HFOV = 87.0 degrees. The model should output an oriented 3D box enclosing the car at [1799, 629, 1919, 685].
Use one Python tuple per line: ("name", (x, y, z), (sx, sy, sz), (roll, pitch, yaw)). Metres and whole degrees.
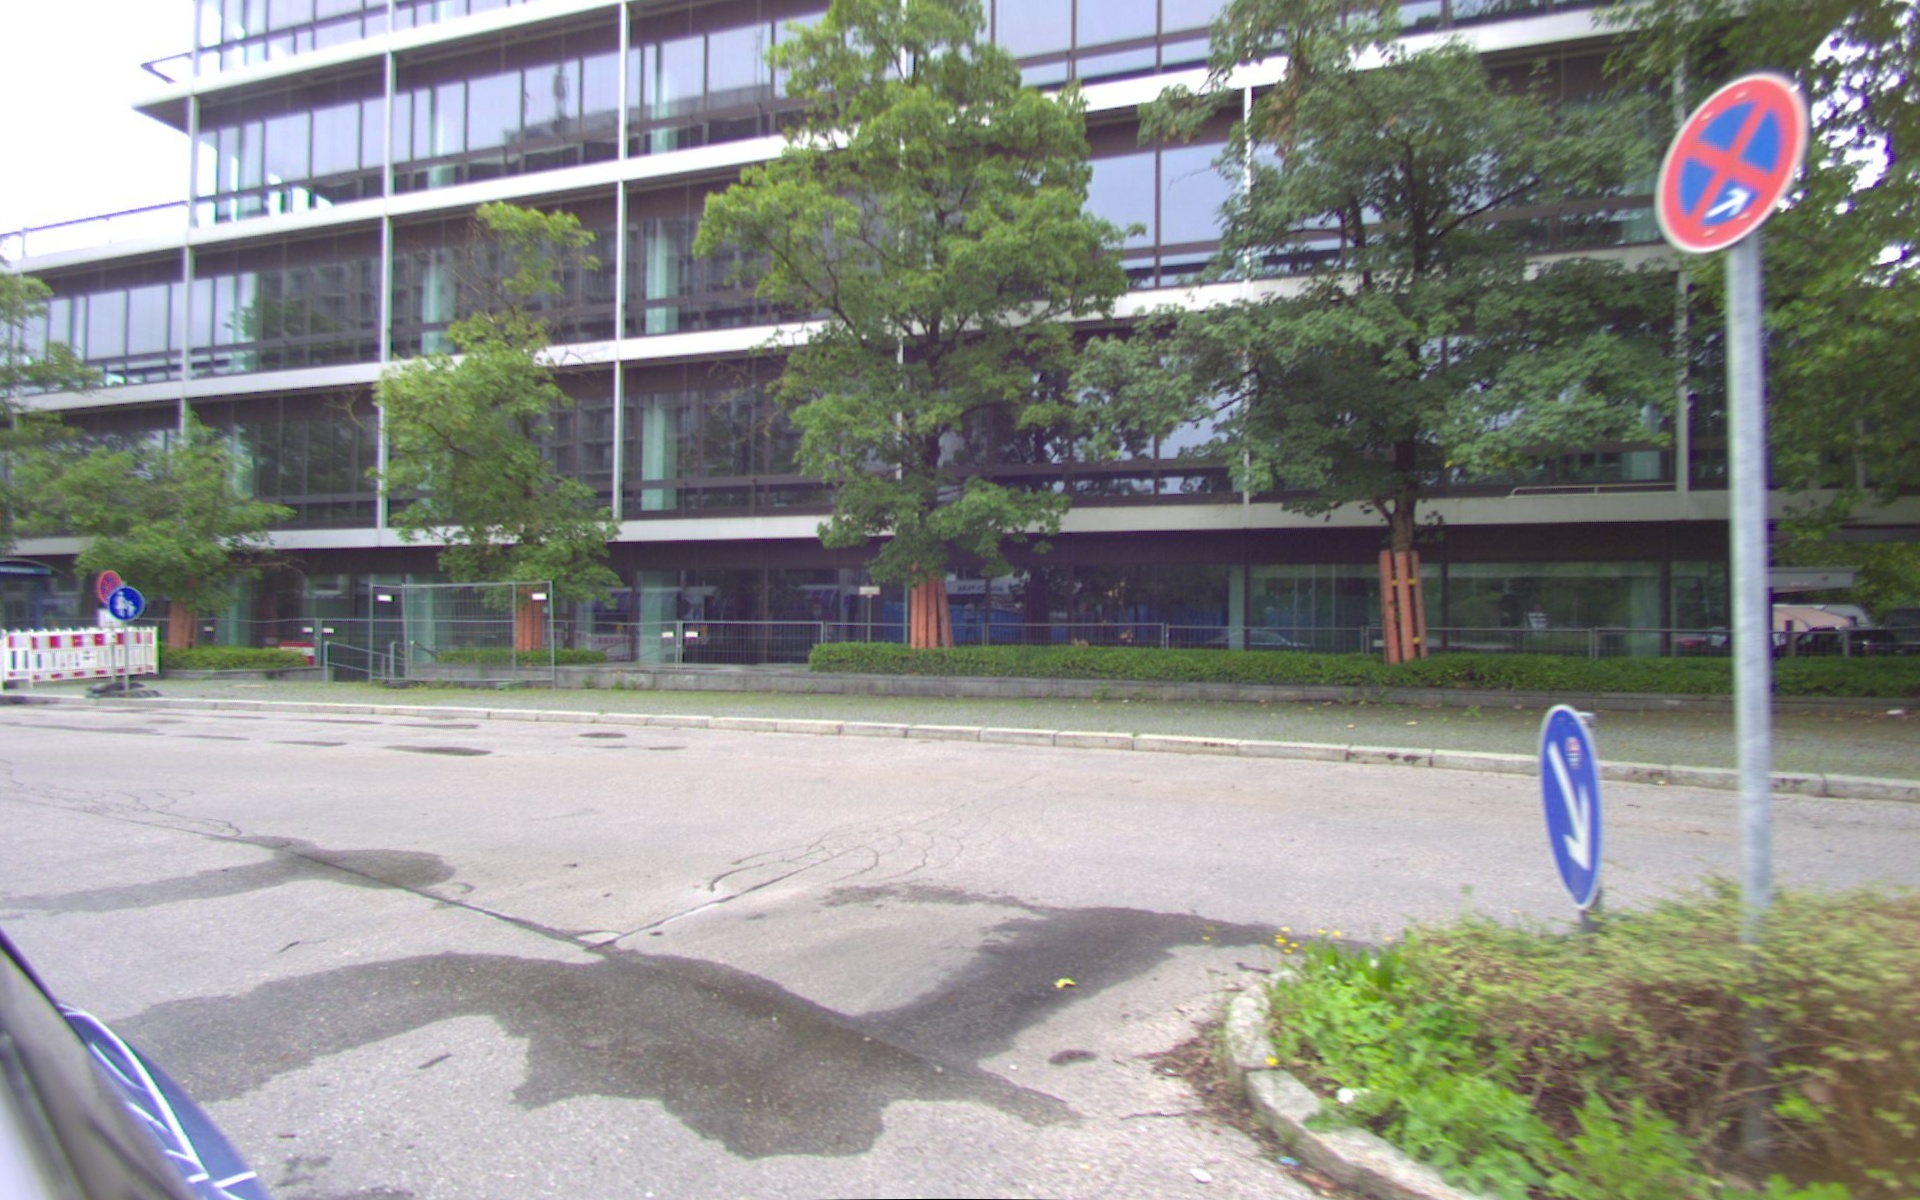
("car", (26.221, 1.584, 28.851), (1.893, 1.485, 3.845), (0, -2, 12))
